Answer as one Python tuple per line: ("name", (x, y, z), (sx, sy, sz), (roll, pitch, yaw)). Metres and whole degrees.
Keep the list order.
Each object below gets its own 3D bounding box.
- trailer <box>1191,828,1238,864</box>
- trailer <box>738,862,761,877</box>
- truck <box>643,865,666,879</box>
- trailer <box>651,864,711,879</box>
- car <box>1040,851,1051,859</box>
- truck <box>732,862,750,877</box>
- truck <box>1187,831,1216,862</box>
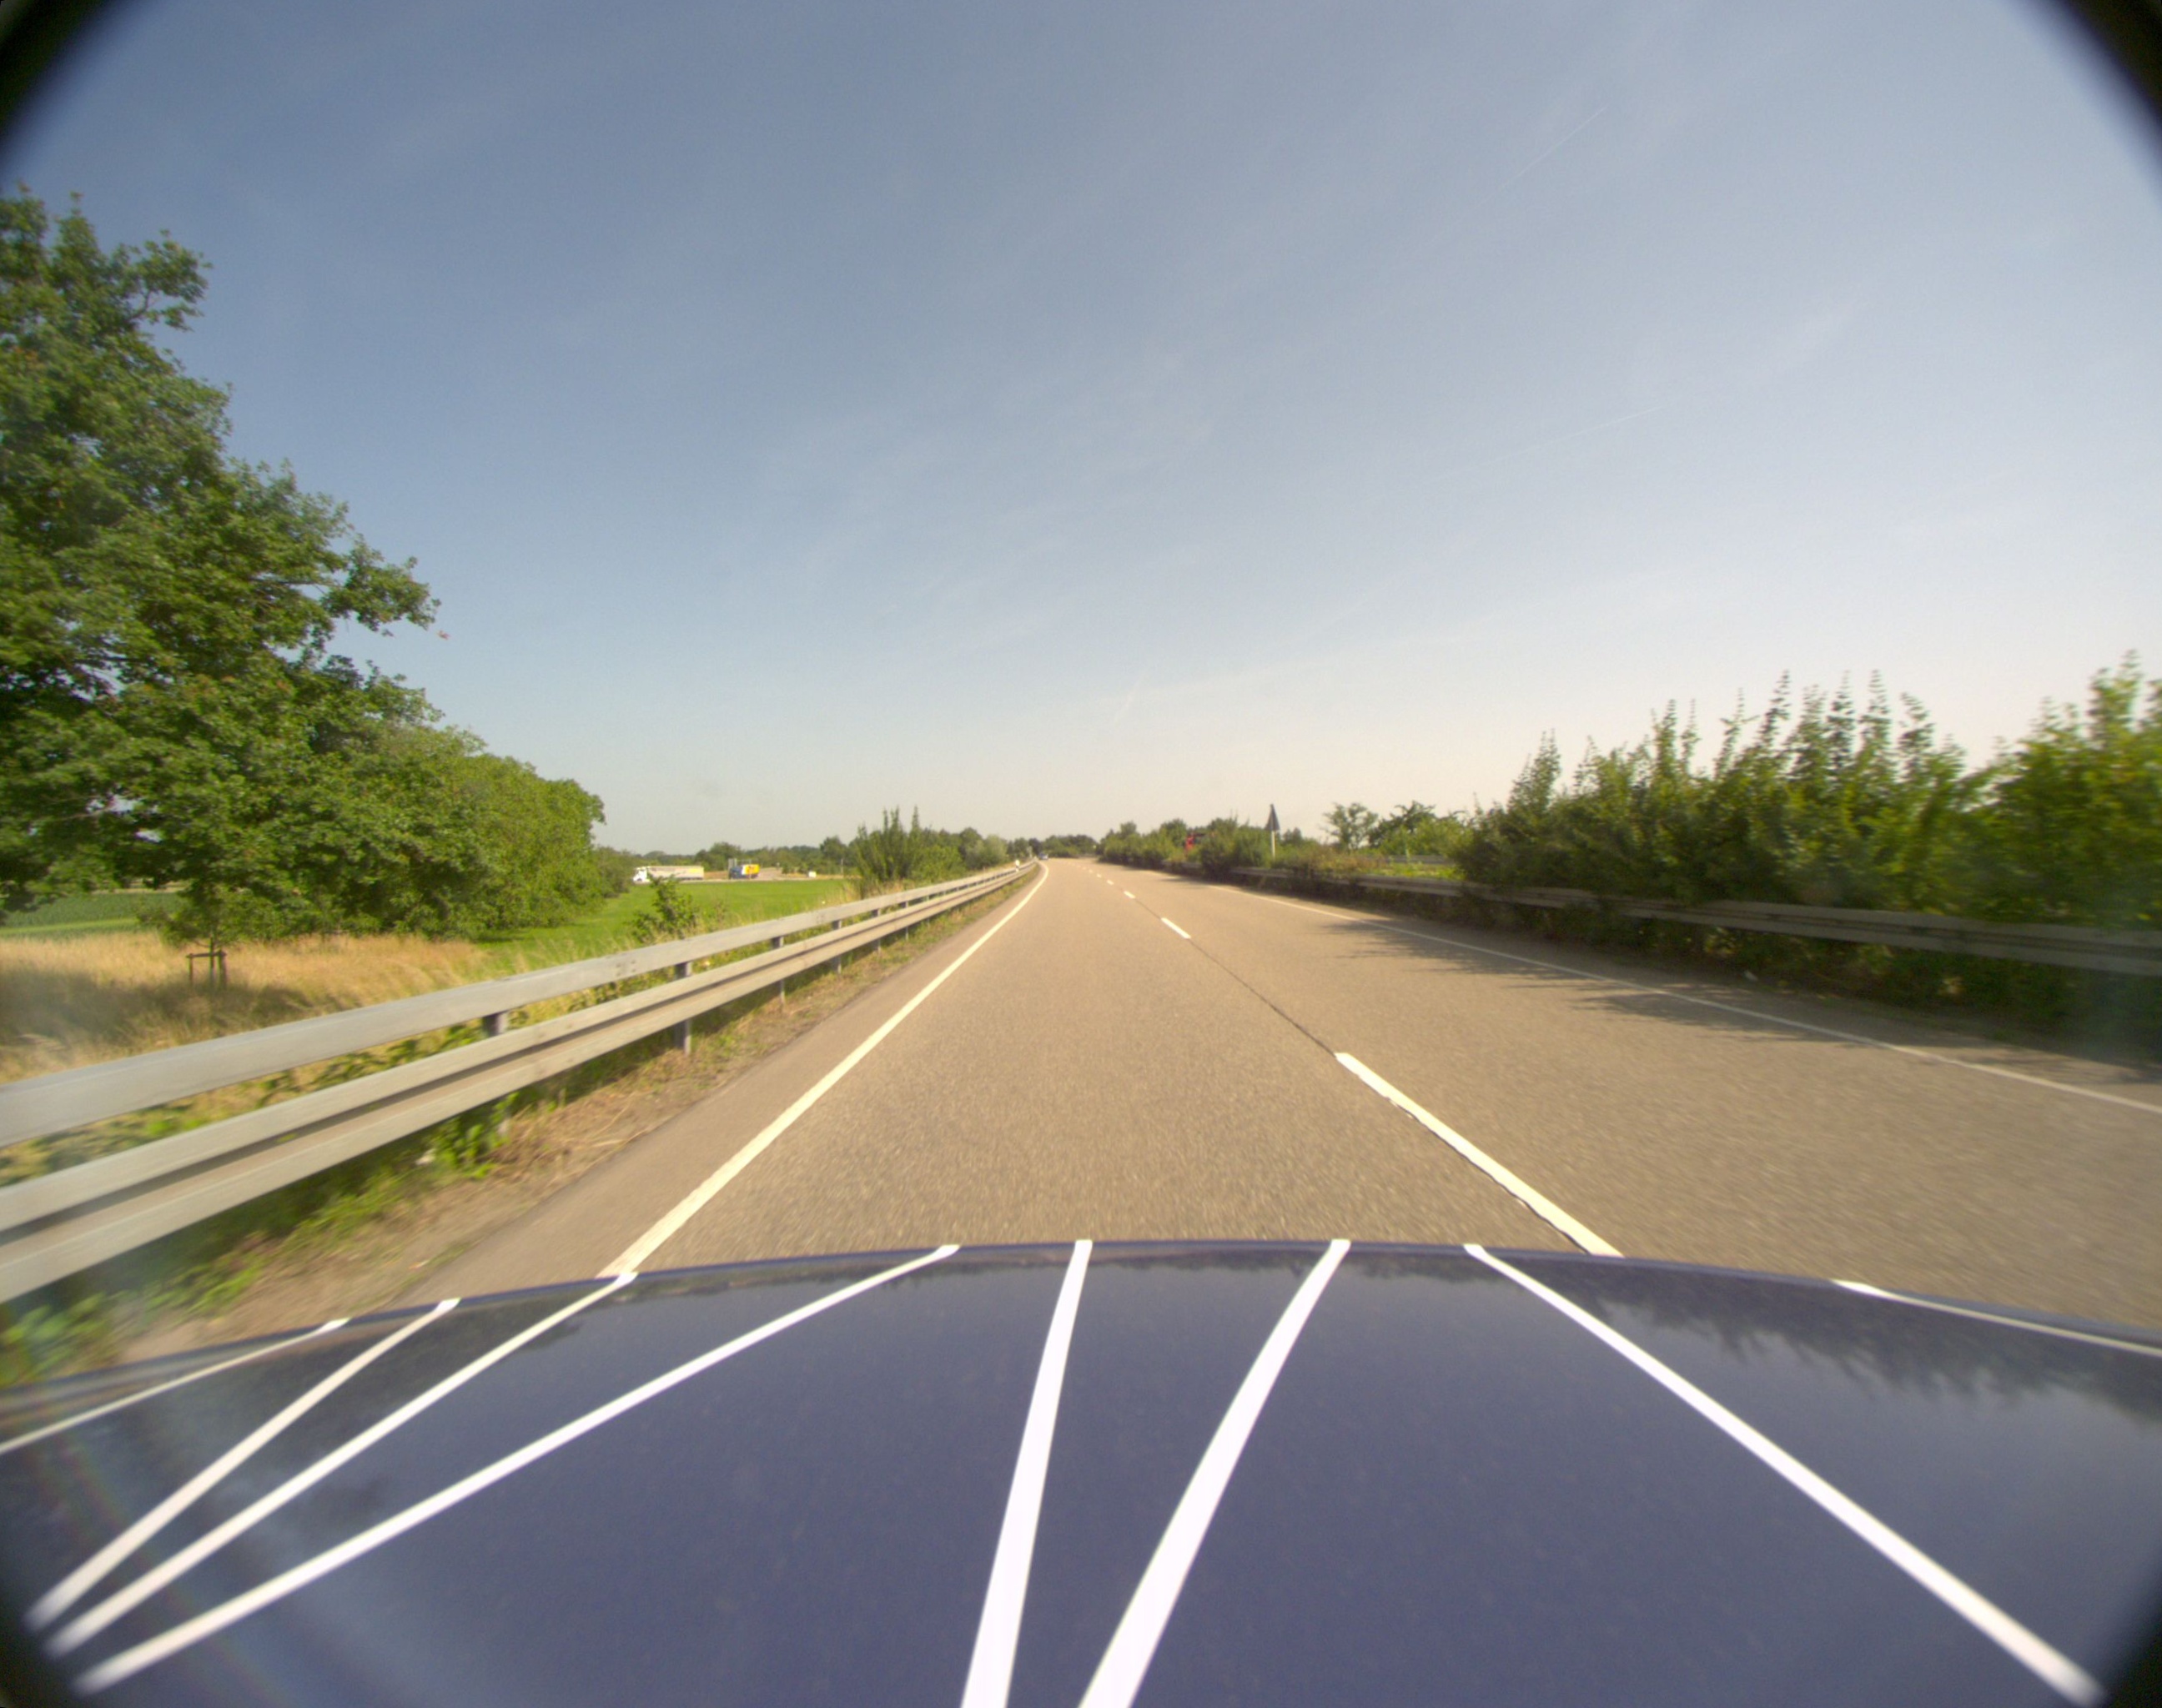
("trailer", (13.855, -0.821, 79.833), (1.999, 3.356, 13.422), (-2, 0, -2))
("trailer", (-96.541, 4.378, 221.472), (2.262, 4.145, 14.414), (-1, 0, -8))
("truck", (-111.843, 4.702, 199.364), (4.952, 3.656, 2.103), (-1, 0, -36))
("trailer", (-106.737, 4.589, 203.160), (13.956, 3.631, 2.103), (-1, 0, -37))
("car", (-7.415, 0.246, 158.734), (1.704, 1.474, 3.597), (-3, -1, -11))
("truck", (-96.234, 4.354, 215.259), (2.257, 4.145, 4.377), (-1, 0, 18))
("truck", (13.607, -0.861, 86.155), (1.999, 3.356, 5.626), (-2, 1, -2))
